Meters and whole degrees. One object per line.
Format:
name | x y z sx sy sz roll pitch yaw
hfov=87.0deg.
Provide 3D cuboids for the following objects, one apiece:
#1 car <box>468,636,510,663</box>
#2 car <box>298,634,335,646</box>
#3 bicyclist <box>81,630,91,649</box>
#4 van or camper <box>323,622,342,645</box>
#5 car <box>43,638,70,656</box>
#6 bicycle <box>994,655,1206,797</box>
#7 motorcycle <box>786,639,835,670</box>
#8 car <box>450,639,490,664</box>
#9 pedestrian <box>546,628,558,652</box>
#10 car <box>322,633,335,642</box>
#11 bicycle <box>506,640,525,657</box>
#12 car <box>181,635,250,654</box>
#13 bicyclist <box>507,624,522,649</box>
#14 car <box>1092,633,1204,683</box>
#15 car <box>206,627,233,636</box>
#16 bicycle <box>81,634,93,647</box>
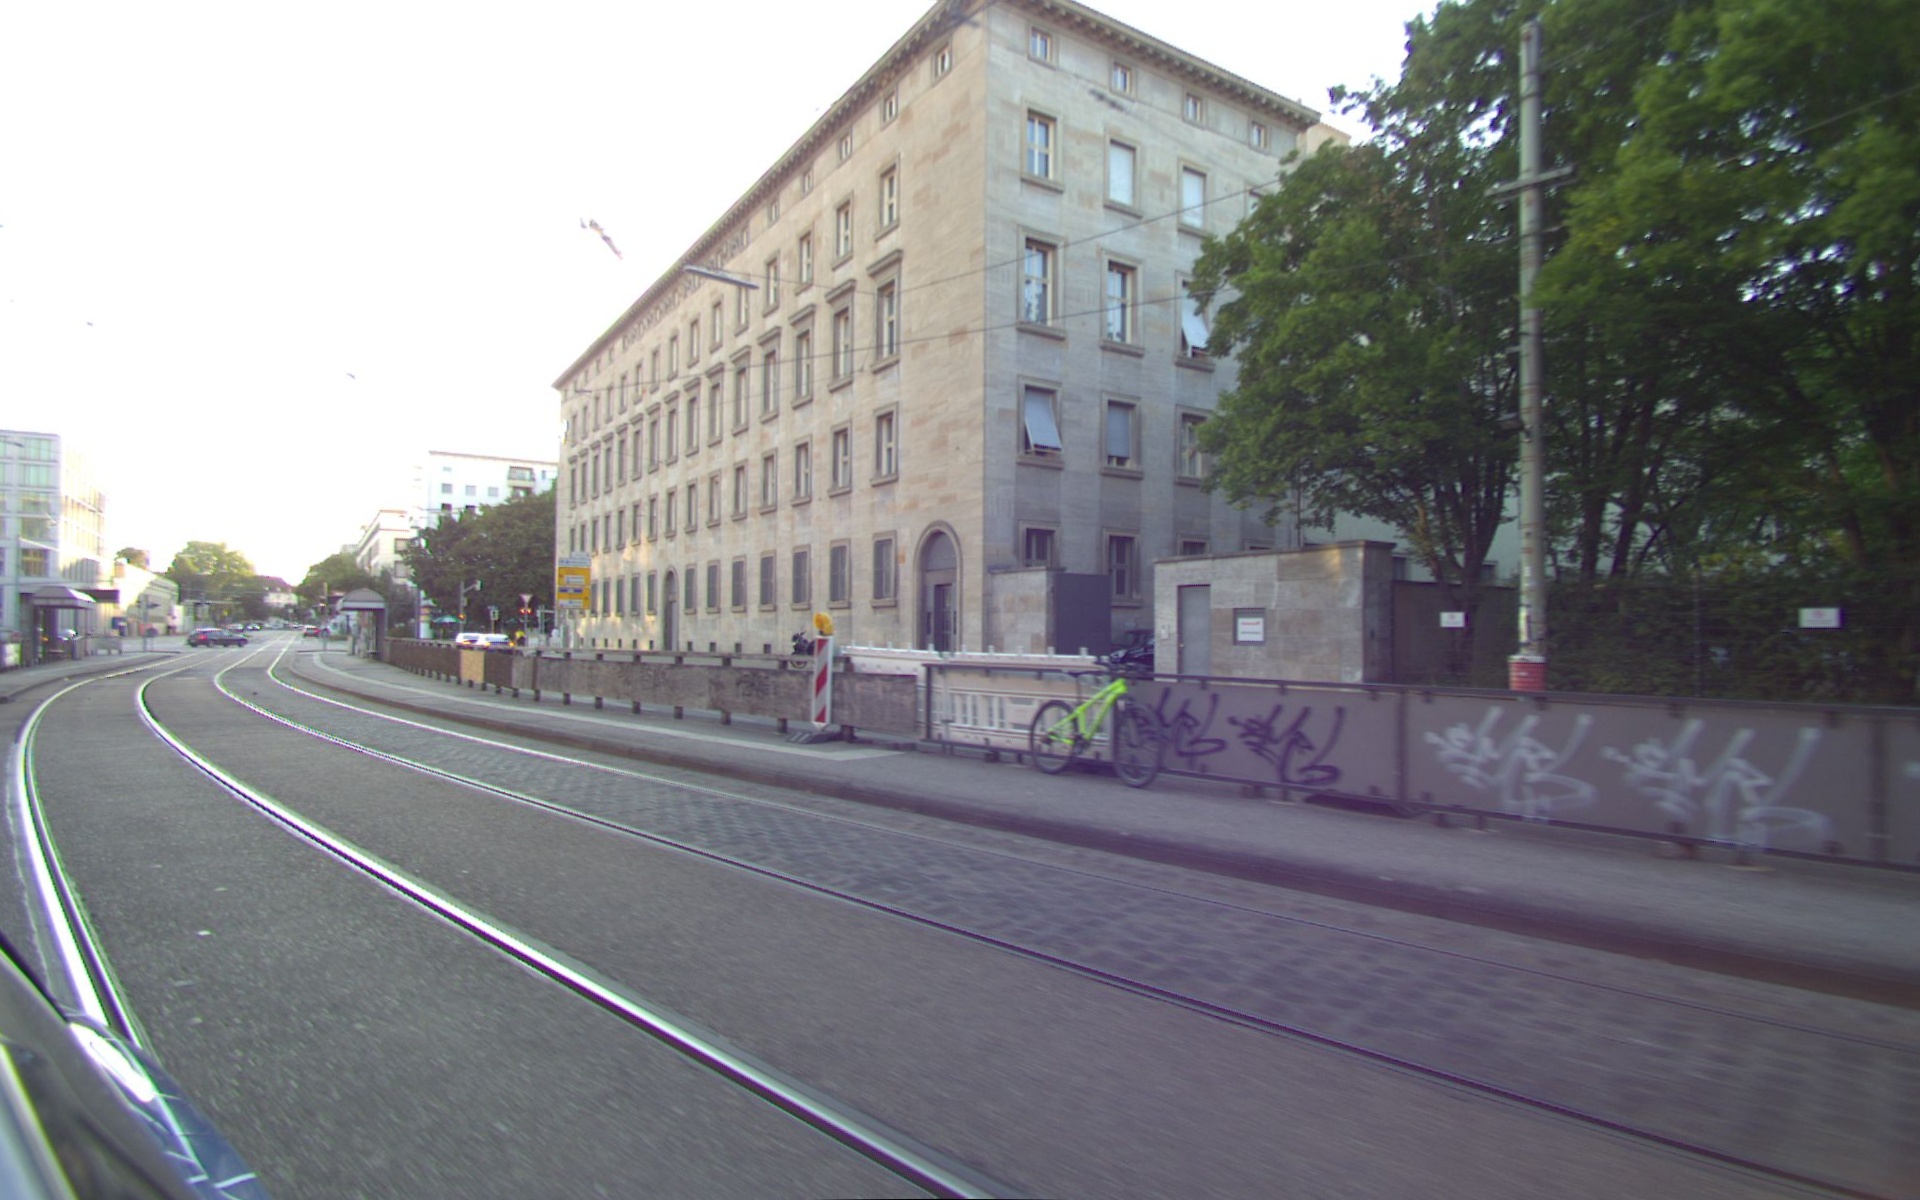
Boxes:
car | -26.514 2.777 56.934 1.620 1.438 3.715 1 -2 -33
car | -86.569 5.361 136.241 4.309 1.676 1.876 0 -2 17
bicyclist | -76.093 3.417 88.130 0.532 1.648 0.598 1 -2 -33
van or camper | -79.573 4.302 128.393 2.076 2.702 4.723 1 -4 -31
car | -80.440 4.191 90.087 1.789 1.534 4.816 -1 -1 -42
bicycle | 1.169 1.043 8.895 0.457 1.083 2.024 2 -3 -42
motorcycle | -5.425 1.959 36.639 0.689 1.083 2.661 2 -3 -33
car | -30.113 3.124 62.158 1.620 1.438 4.243 1 -2 -33
pedestrian | -29.271 2.875 72.676 0.686 1.723 0.648 1 -2 -30
car | -104.292 6.229 167.236 1.694 1.441 3.821 1 -2 -30
bicycle | -26.466 2.888 60.251 0.731 1.025 1.766 1 -2 -33
car | -58.897 3.477 80.160 1.687 1.431 4.141 0 -2 23
bicyclist | -26.637 2.188 60.536 0.746 1.452 0.598 1 -2 -33
car | 5.635 1.700 30.205 3.133 1.430 1.482 1 -2 -34
car | -131.482 5.585 179.644 3.745 1.661 1.868 1 -2 -34
bicycle | -76.301 3.535 88.446 0.531 1.059 1.766 1 -2 -32
